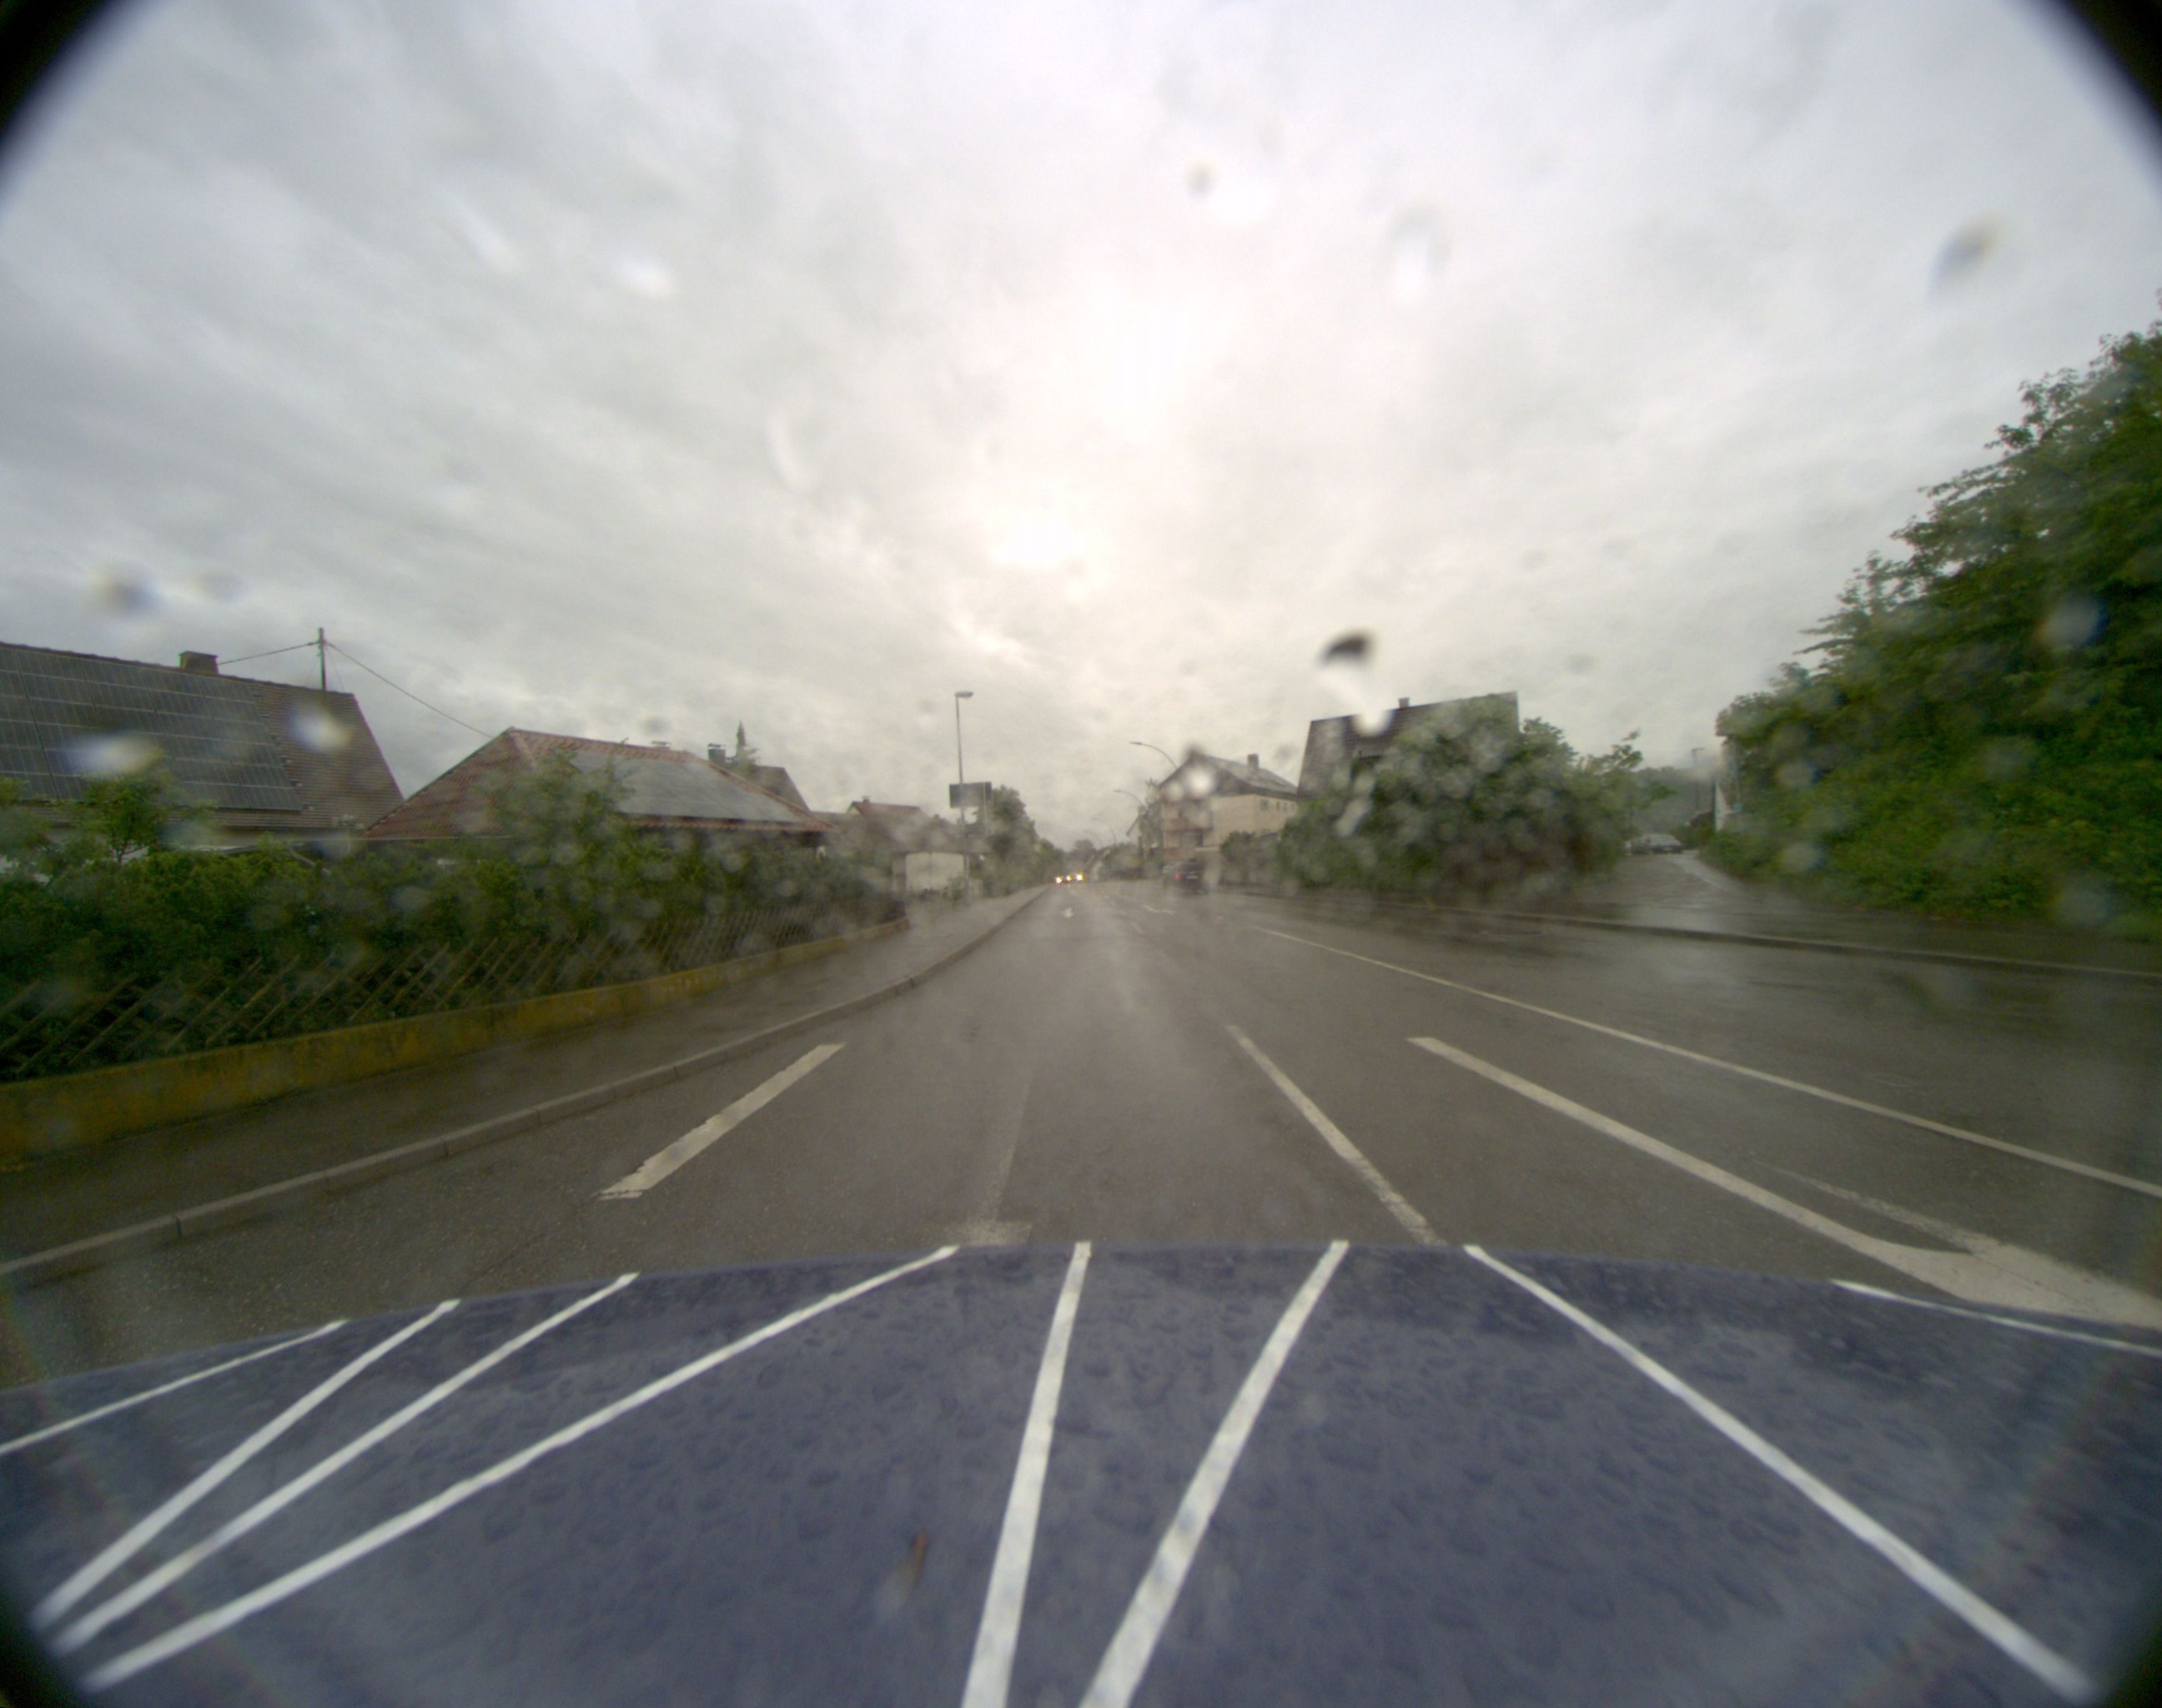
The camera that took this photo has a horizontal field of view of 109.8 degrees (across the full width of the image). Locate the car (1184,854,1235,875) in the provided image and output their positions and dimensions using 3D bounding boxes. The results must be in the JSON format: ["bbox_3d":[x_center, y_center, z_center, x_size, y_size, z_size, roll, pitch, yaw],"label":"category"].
[{"bbox_3d":[10.386,0.849,61.449,3.661,1.510,1.758,-3,0,35],"label":"car"}]

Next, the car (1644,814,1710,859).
[{"bbox_3d":[22.970,-0.675,29.226,1.706,1.579,3.669,-2,0,42],"label":"car"}]

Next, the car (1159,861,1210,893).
[{"bbox_3d":[4.904,1.063,36.393,1.681,1.379,3.459,-3,0,-5],"label":"car"}]

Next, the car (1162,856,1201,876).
[{"bbox_3d":[8.910,1.046,67.054,1.864,1.510,4.007,-3,0,32],"label":"car"}]

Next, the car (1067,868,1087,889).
[{"bbox_3d":[-0.431,2.636,82.173,1.998,2.002,4.000,-3,0,1],"label":"car"}]

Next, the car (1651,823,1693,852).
[{"bbox_3d":[41.130,-1.161,52.864,1.995,1.848,4.008,-3,0,41],"label":"car"}]

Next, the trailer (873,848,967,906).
[{"bbox_3d":[-7.730,1.057,36.931,1.645,2.502,4.712,-3,-1,29],"label":"trailer"}]
